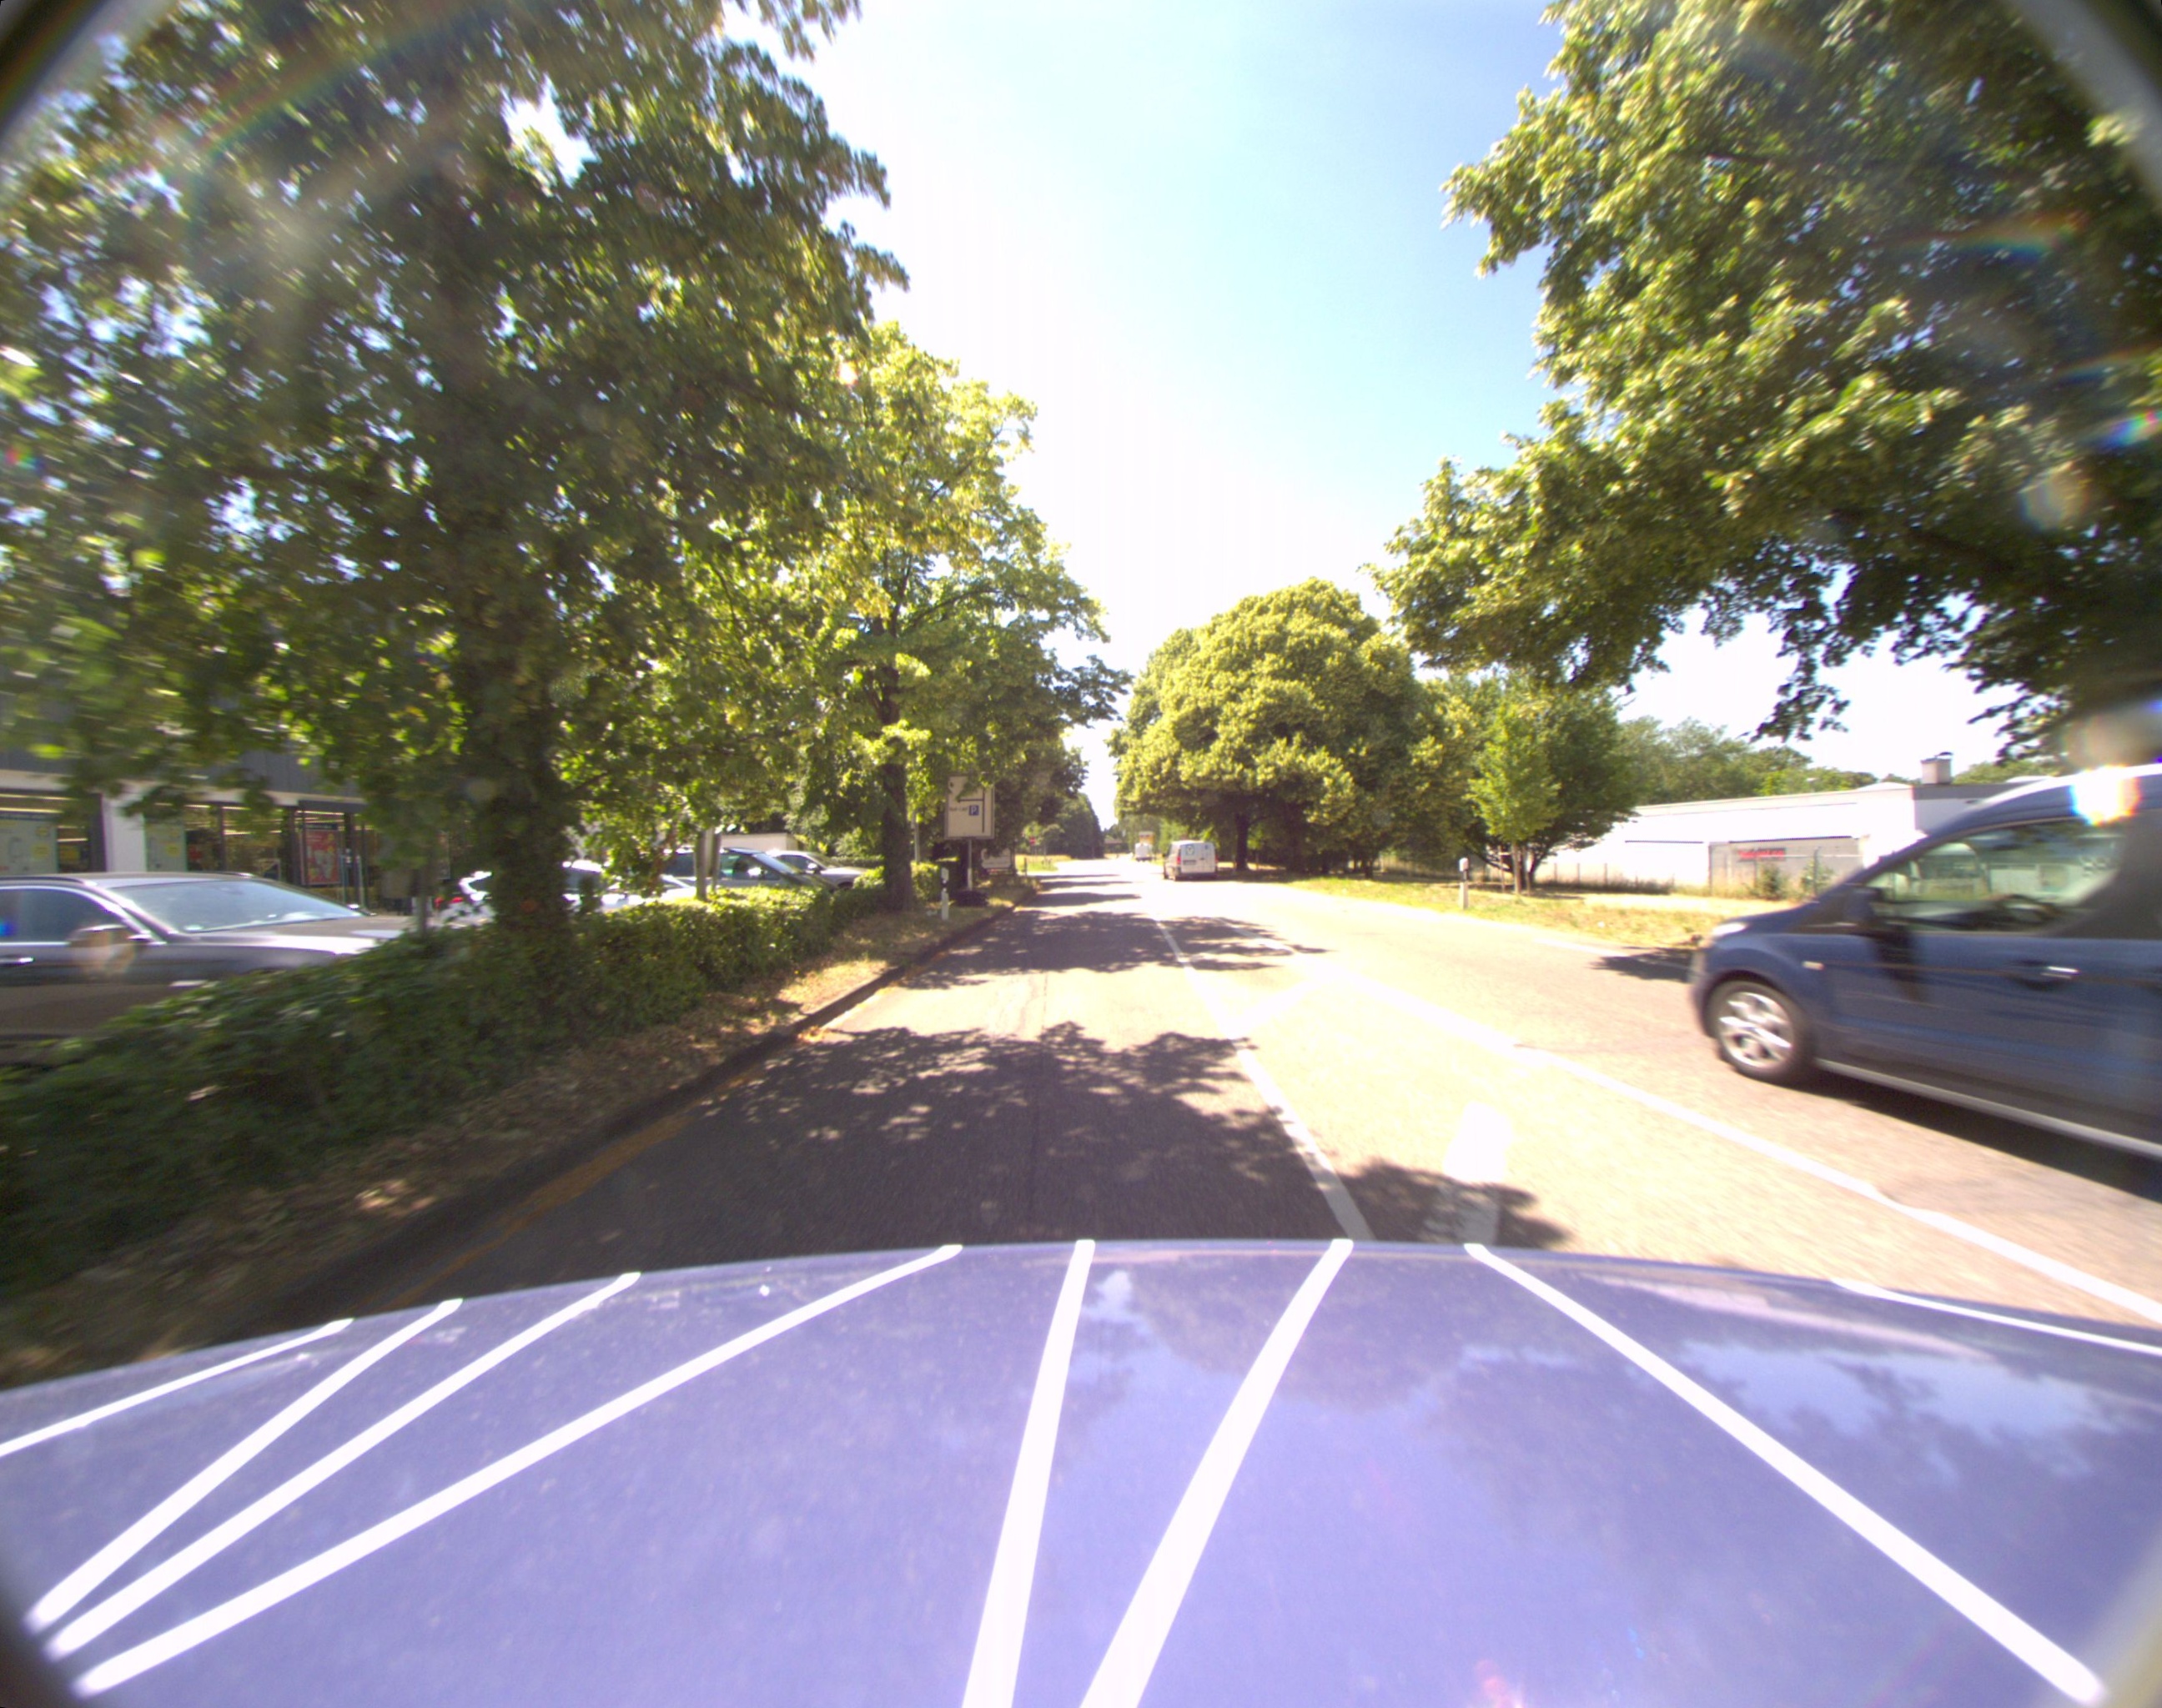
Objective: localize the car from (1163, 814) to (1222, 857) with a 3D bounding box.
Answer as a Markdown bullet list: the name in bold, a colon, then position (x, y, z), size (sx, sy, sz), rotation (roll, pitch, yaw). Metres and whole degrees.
- **car**: position (5.111, -0.883, 35.510), size (1.882, 1.824, 5.296), rotation (-2, 2, 0)

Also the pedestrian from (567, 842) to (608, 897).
- **pedestrian**: position (-16.214, 0.505, 24.973), size (0.763, 1.732, 0.698), rotation (-2, 2, 1)

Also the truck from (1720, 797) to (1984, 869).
- **truck**: position (35.321, -0.919, 35.677), size (2.691, 2.781, 10.160), rotation (-3, 1, 5)

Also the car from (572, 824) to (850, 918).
- **car**: position (-7.716, 0.319, 16.270), size (4.861, 1.667, 1.999), rotation (-3, 2, -2)

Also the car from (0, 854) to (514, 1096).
- **car**: position (-7.278, 0.835, 5.833), size (4.323, 1.472, 1.808), rotation (-2, 1, -4)

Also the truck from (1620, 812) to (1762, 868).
- **truck**: position (36.191, -0.855, 45.552), size (2.439, 2.911, 8.164), rotation (-3, 1, 5)

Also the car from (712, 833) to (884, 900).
- **car**: position (-7.802, 0.295, 21.248), size (3.998, 1.630, 1.999), rotation (-2, 2, -2)

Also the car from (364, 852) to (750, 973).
- **car**: position (-7.491, 0.783, 11.286), size (4.242, 1.403, 1.952), rotation (-3, 1, -4)

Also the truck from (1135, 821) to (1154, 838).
- **truck**: position (9.396, -3.620, 111.672), size (2.302, 2.450, 5.344), rotation (-2, 2, 10)

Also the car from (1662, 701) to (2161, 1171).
- **car**: position (4.980, 0.299, 2.888), size (1.828, 1.771, 4.780), rotation (-1, 1, -1)
